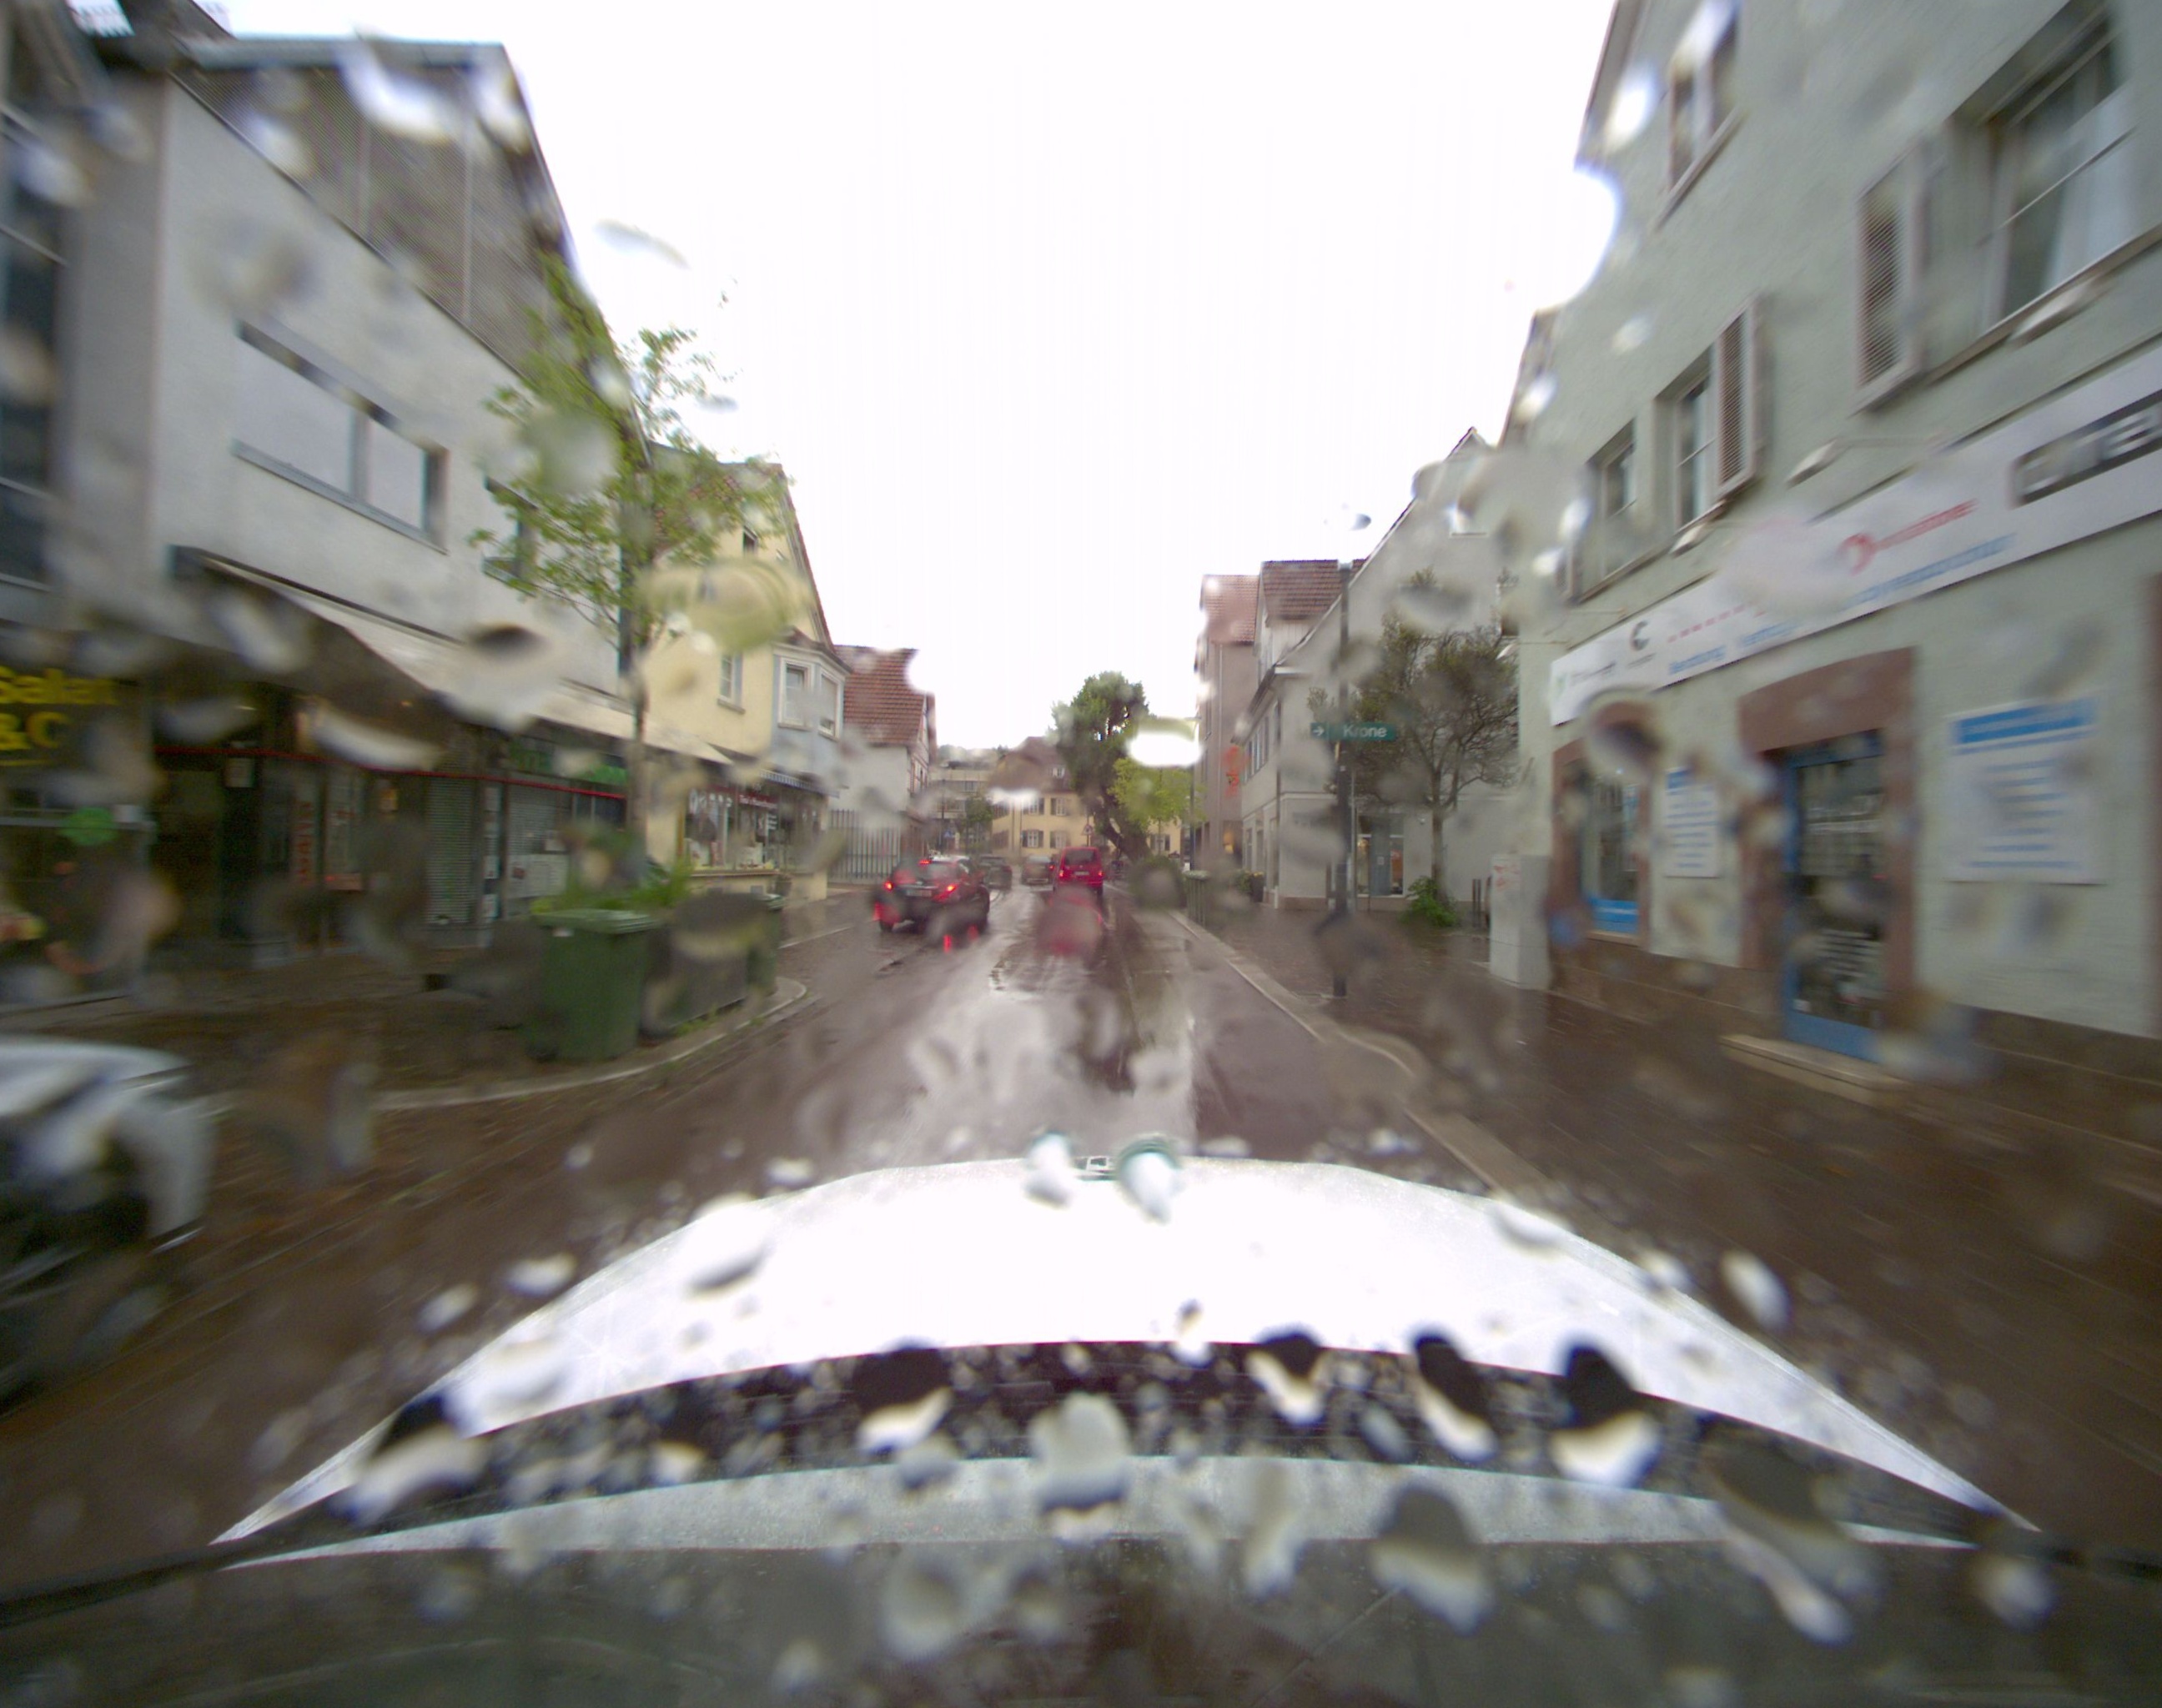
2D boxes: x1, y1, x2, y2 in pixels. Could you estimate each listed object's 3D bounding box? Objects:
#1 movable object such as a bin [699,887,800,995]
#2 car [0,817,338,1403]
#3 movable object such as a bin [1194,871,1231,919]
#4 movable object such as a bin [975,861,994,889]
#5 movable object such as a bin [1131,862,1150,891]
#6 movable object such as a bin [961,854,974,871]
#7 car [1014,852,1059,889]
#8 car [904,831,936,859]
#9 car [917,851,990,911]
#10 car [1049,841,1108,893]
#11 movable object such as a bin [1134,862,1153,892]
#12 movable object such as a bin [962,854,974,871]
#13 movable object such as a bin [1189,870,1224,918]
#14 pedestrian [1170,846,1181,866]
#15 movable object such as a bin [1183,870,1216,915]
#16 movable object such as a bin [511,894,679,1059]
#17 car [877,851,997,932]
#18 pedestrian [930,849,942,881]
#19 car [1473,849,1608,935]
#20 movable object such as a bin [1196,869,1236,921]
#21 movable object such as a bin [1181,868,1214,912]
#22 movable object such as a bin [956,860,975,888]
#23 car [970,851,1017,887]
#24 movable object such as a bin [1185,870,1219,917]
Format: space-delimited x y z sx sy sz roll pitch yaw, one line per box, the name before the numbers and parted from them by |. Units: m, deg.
movable object such as a bin | -3.474 0.888 8.581 0.706 1.052 0.704 2 -2 2
car | -3.764 0.674 1.013 1.684 1.538 4.125 2 1 4
movable object such as a bin | 2.970 0.922 18.463 0.751 1.064 0.600 2 -2 2
movable object such as a bin | -3.997 0.878 33.621 0.725 1.110 0.595 2 -2 -6
movable object such as a bin | 2.399 0.901 32.736 0.630 1.104 0.578 2 -2 -6
movable object such as a bin | -7.522 0.577 53.816 0.794 1.106 0.720 2 -2 -8
car | -2.390 0.853 42.812 1.992 1.799 3.989 2 -1 -8
car | -16.300 -0.865 82.011 2.305 2.602 6.915 2 -2 -18
car | -3.550 0.707 23.306 1.754 1.473 3.937 2 1 -5
car | -0.184 0.437 31.792 1.891 1.811 3.993 3 1 -5
movable object such as a bin | 2.450 0.920 32.144 0.630 1.150 0.578 2 -2 -6
movable object such as a bin | -7.384 0.565 53.131 0.714 1.106 0.598 2 -2 -8
movable object such as a bin | 2.926 0.926 19.055 0.726 1.091 0.521 2 -2 2
pedestrian | 8.843 0.182 76.415 0.895 1.842 0.766 2 -2 0
movable object such as a bin | 2.935 0.950 20.267 0.733 1.098 0.611 1 -2 1
movable object such as a bin | -3.602 0.879 6.087 0.783 1.084 0.694 2 1 4
car | -2.945 0.712 17.453 1.685 1.443 3.887 2 1 2
pedestrian | -7.964 0.590 44.702 0.517 1.711 0.577 2 -2 -6
car | 9.993 0.700 17.547 1.864 1.599 4.419 1 0 38
movable object such as a bin | 2.951 0.888 17.841 0.765 1.079 0.599 2 -2 2
movable object such as a bin | 2.973 0.907 20.872 0.751 1.090 0.656 0 0 -2
movable object such as a bin | -4.743 0.813 33.499 0.725 1.110 0.595 2 -2 -6
car | -4.112 0.672 37.808 1.789 1.495 3.985 2 0 -11
movable object such as a bin | 2.919 0.948 19.663 0.733 1.098 0.611 1 -2 1
